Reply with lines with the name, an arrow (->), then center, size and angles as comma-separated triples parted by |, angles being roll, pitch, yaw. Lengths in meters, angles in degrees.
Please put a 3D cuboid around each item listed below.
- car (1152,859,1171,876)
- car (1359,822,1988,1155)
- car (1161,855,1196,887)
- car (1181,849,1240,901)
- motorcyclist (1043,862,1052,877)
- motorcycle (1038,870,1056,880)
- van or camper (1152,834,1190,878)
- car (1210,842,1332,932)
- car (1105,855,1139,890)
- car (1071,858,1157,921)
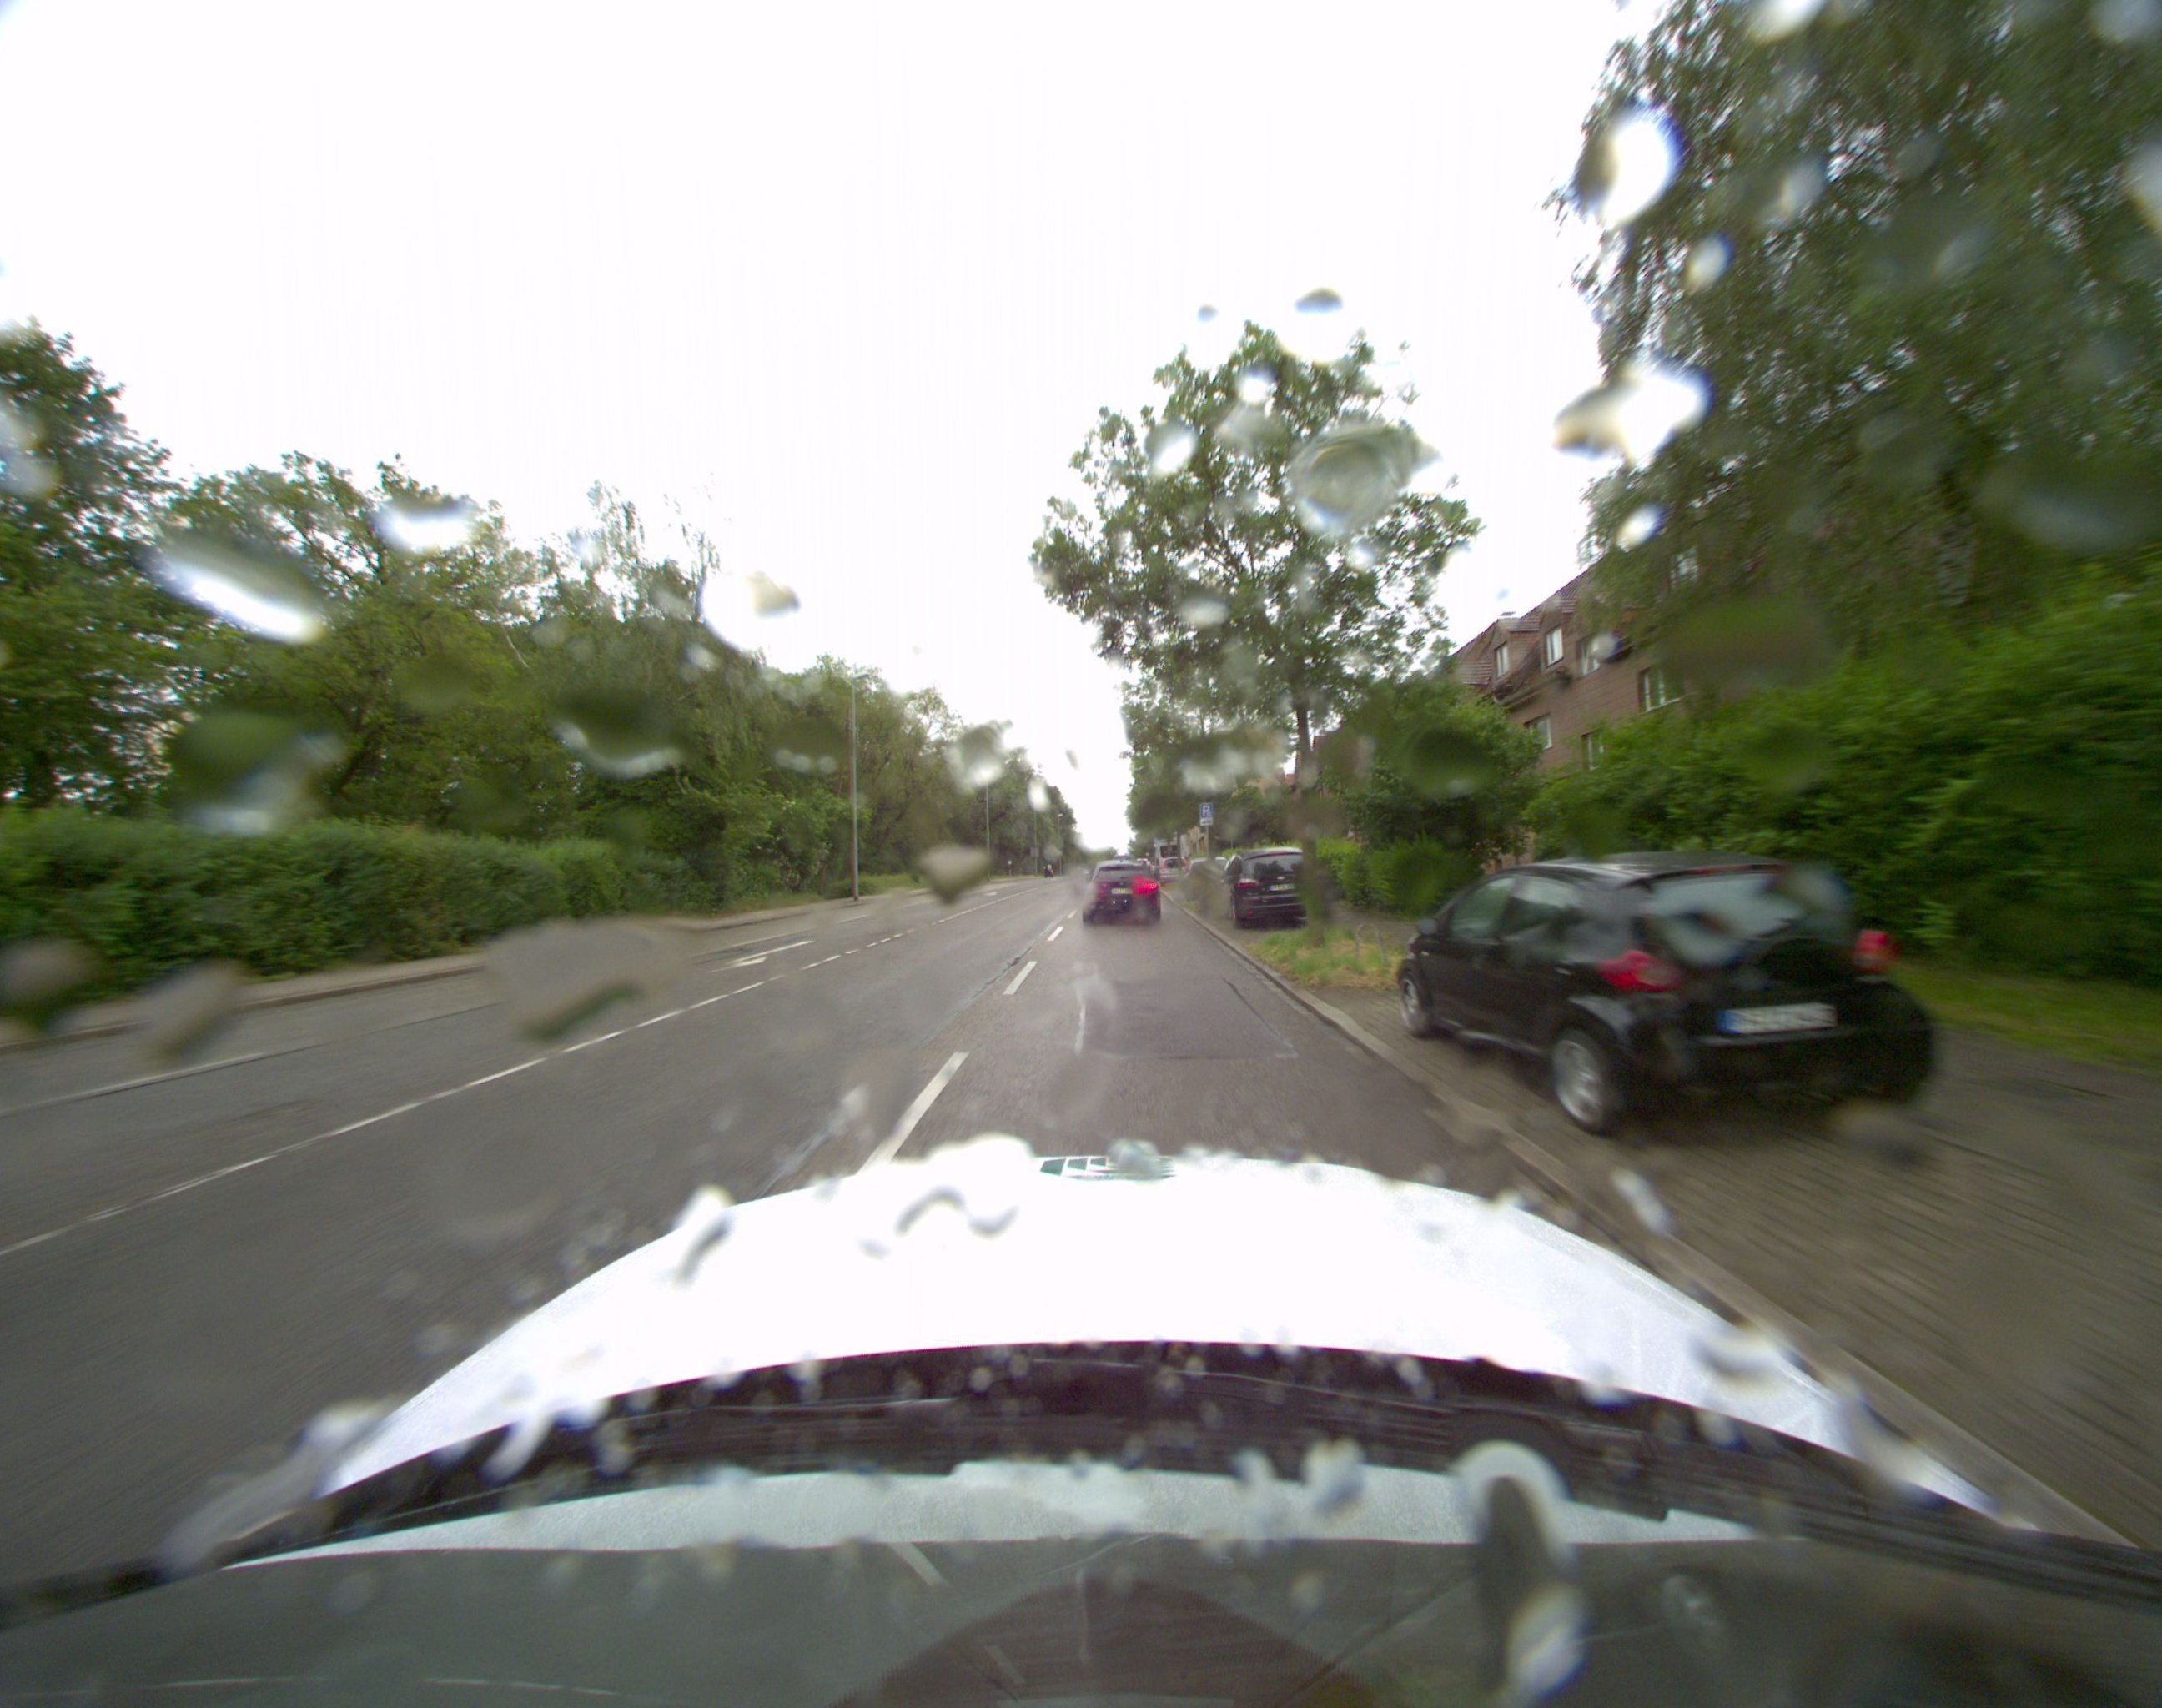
car -> 8.303, 1.403, 84.221 | 1.694, 1.584, 4.648 | -6, -1, 5
car -> 3.511, 0.656, 5.832 | 1.716, 1.512, 3.786 | -3, 0, 1
car -> 5.284, 0.897, 44.343 | 1.660, 1.528, 3.838 | -5, -1, 6
car -> 4.587, 0.709, 29.353 | 1.815, 1.603, 4.481 | -4, -1, 6
motorcyclist -> -3.792, 1.796, 91.841 | 0.818, 1.681, 0.643 | 0, -1, -43
motorcycle -> -3.815, 2.335, 91.875 | 0.828, 1.118, 2.162 | 0, -1, -43
van or camper -> 6.140, 0.161, 56.198 | 2.188, 2.651, 7.309 | -4, -1, 4
car -> 4.127, 0.669, 18.454 | 1.817, 1.678, 4.587 | -4, -1, 3
car -> 2.589, 1.168, 50.903 | 1.985, 2.014, 4.004 | -1, -2, 4
car -> 0.840, 0.874, 20.957 | 1.986, 1.453, 4.002 | 1, -1, 2
